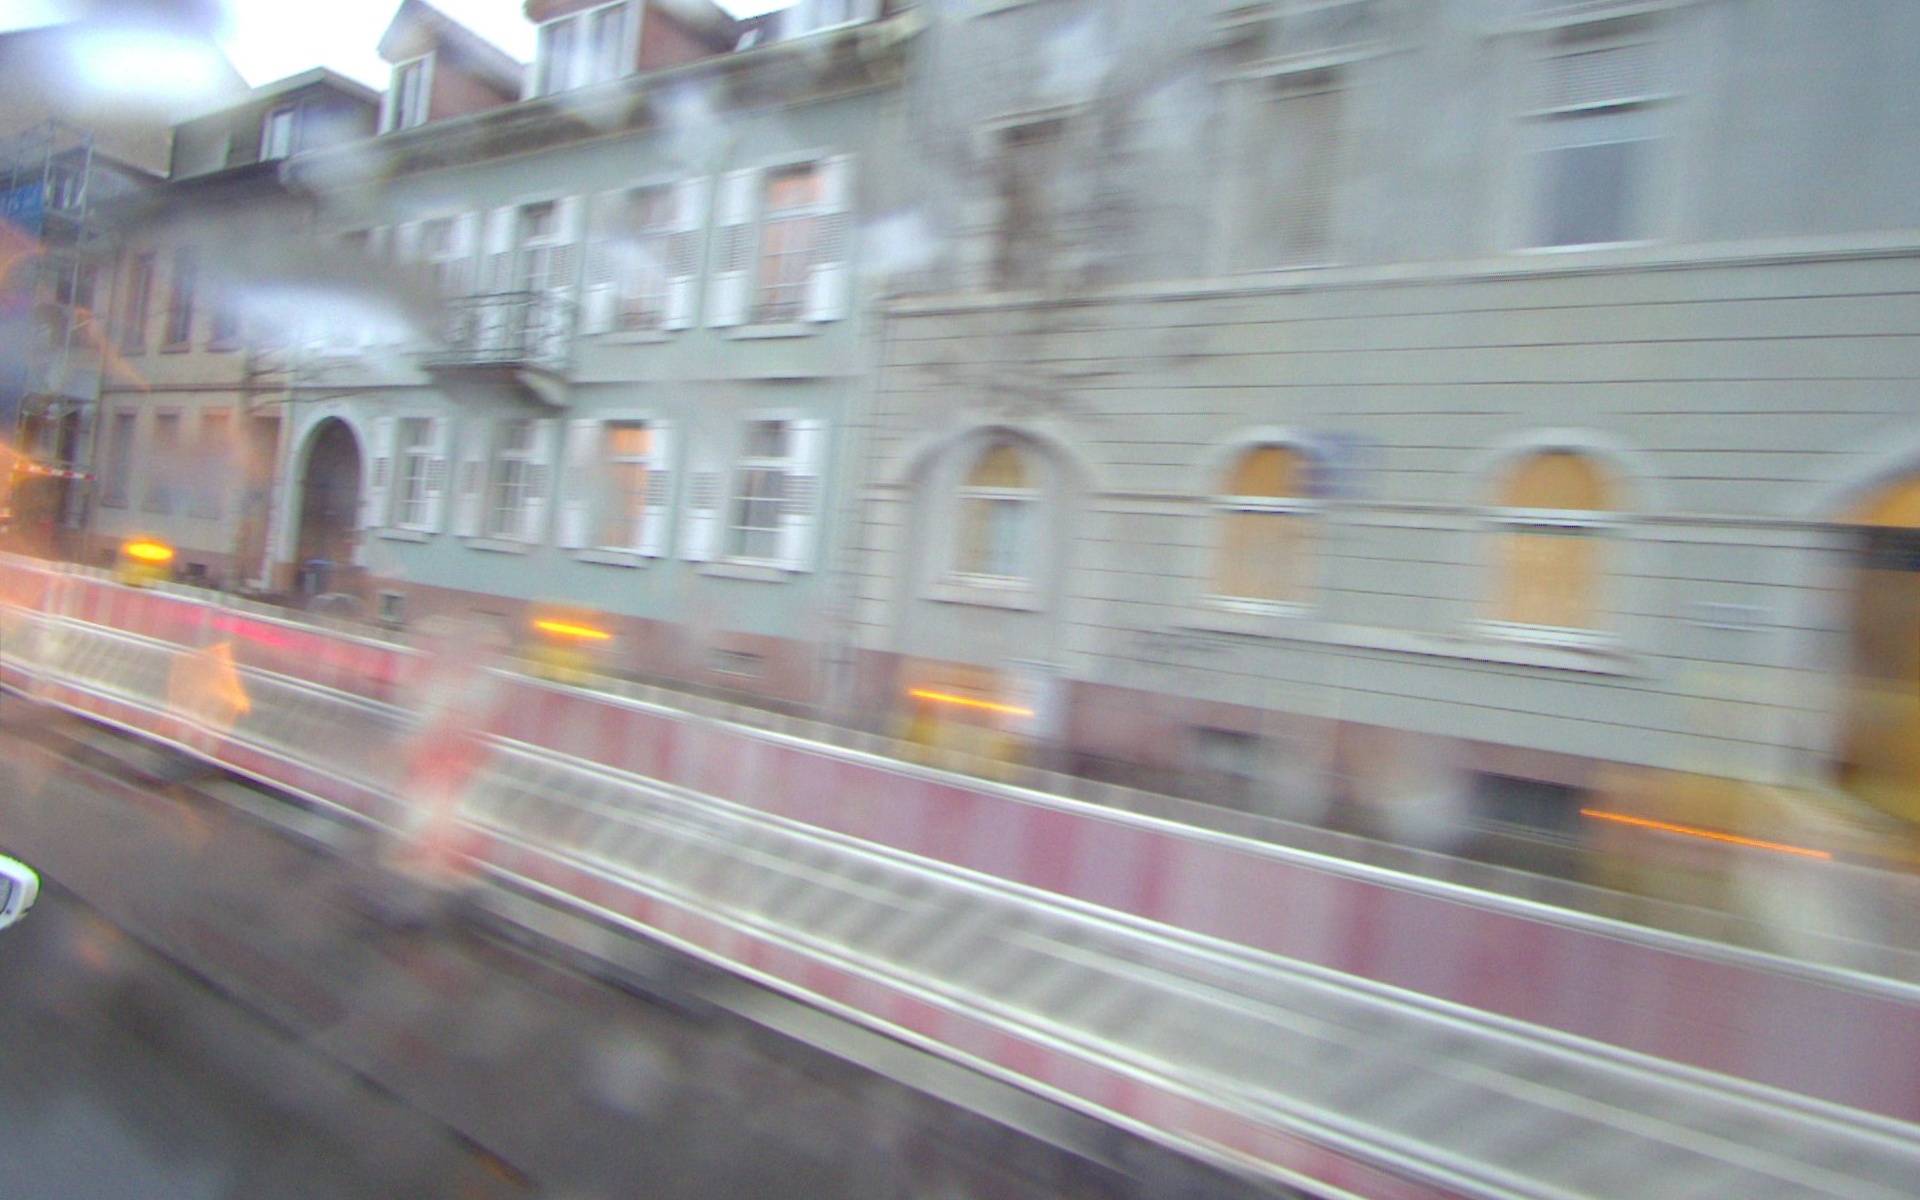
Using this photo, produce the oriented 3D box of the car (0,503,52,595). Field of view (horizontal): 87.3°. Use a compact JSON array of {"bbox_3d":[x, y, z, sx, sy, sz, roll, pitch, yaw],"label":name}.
[{"bbox_3d":[-17.139,-1.036,15.937,1.874,1.535,4.094,8,-2,-5],"label":"car"}]
